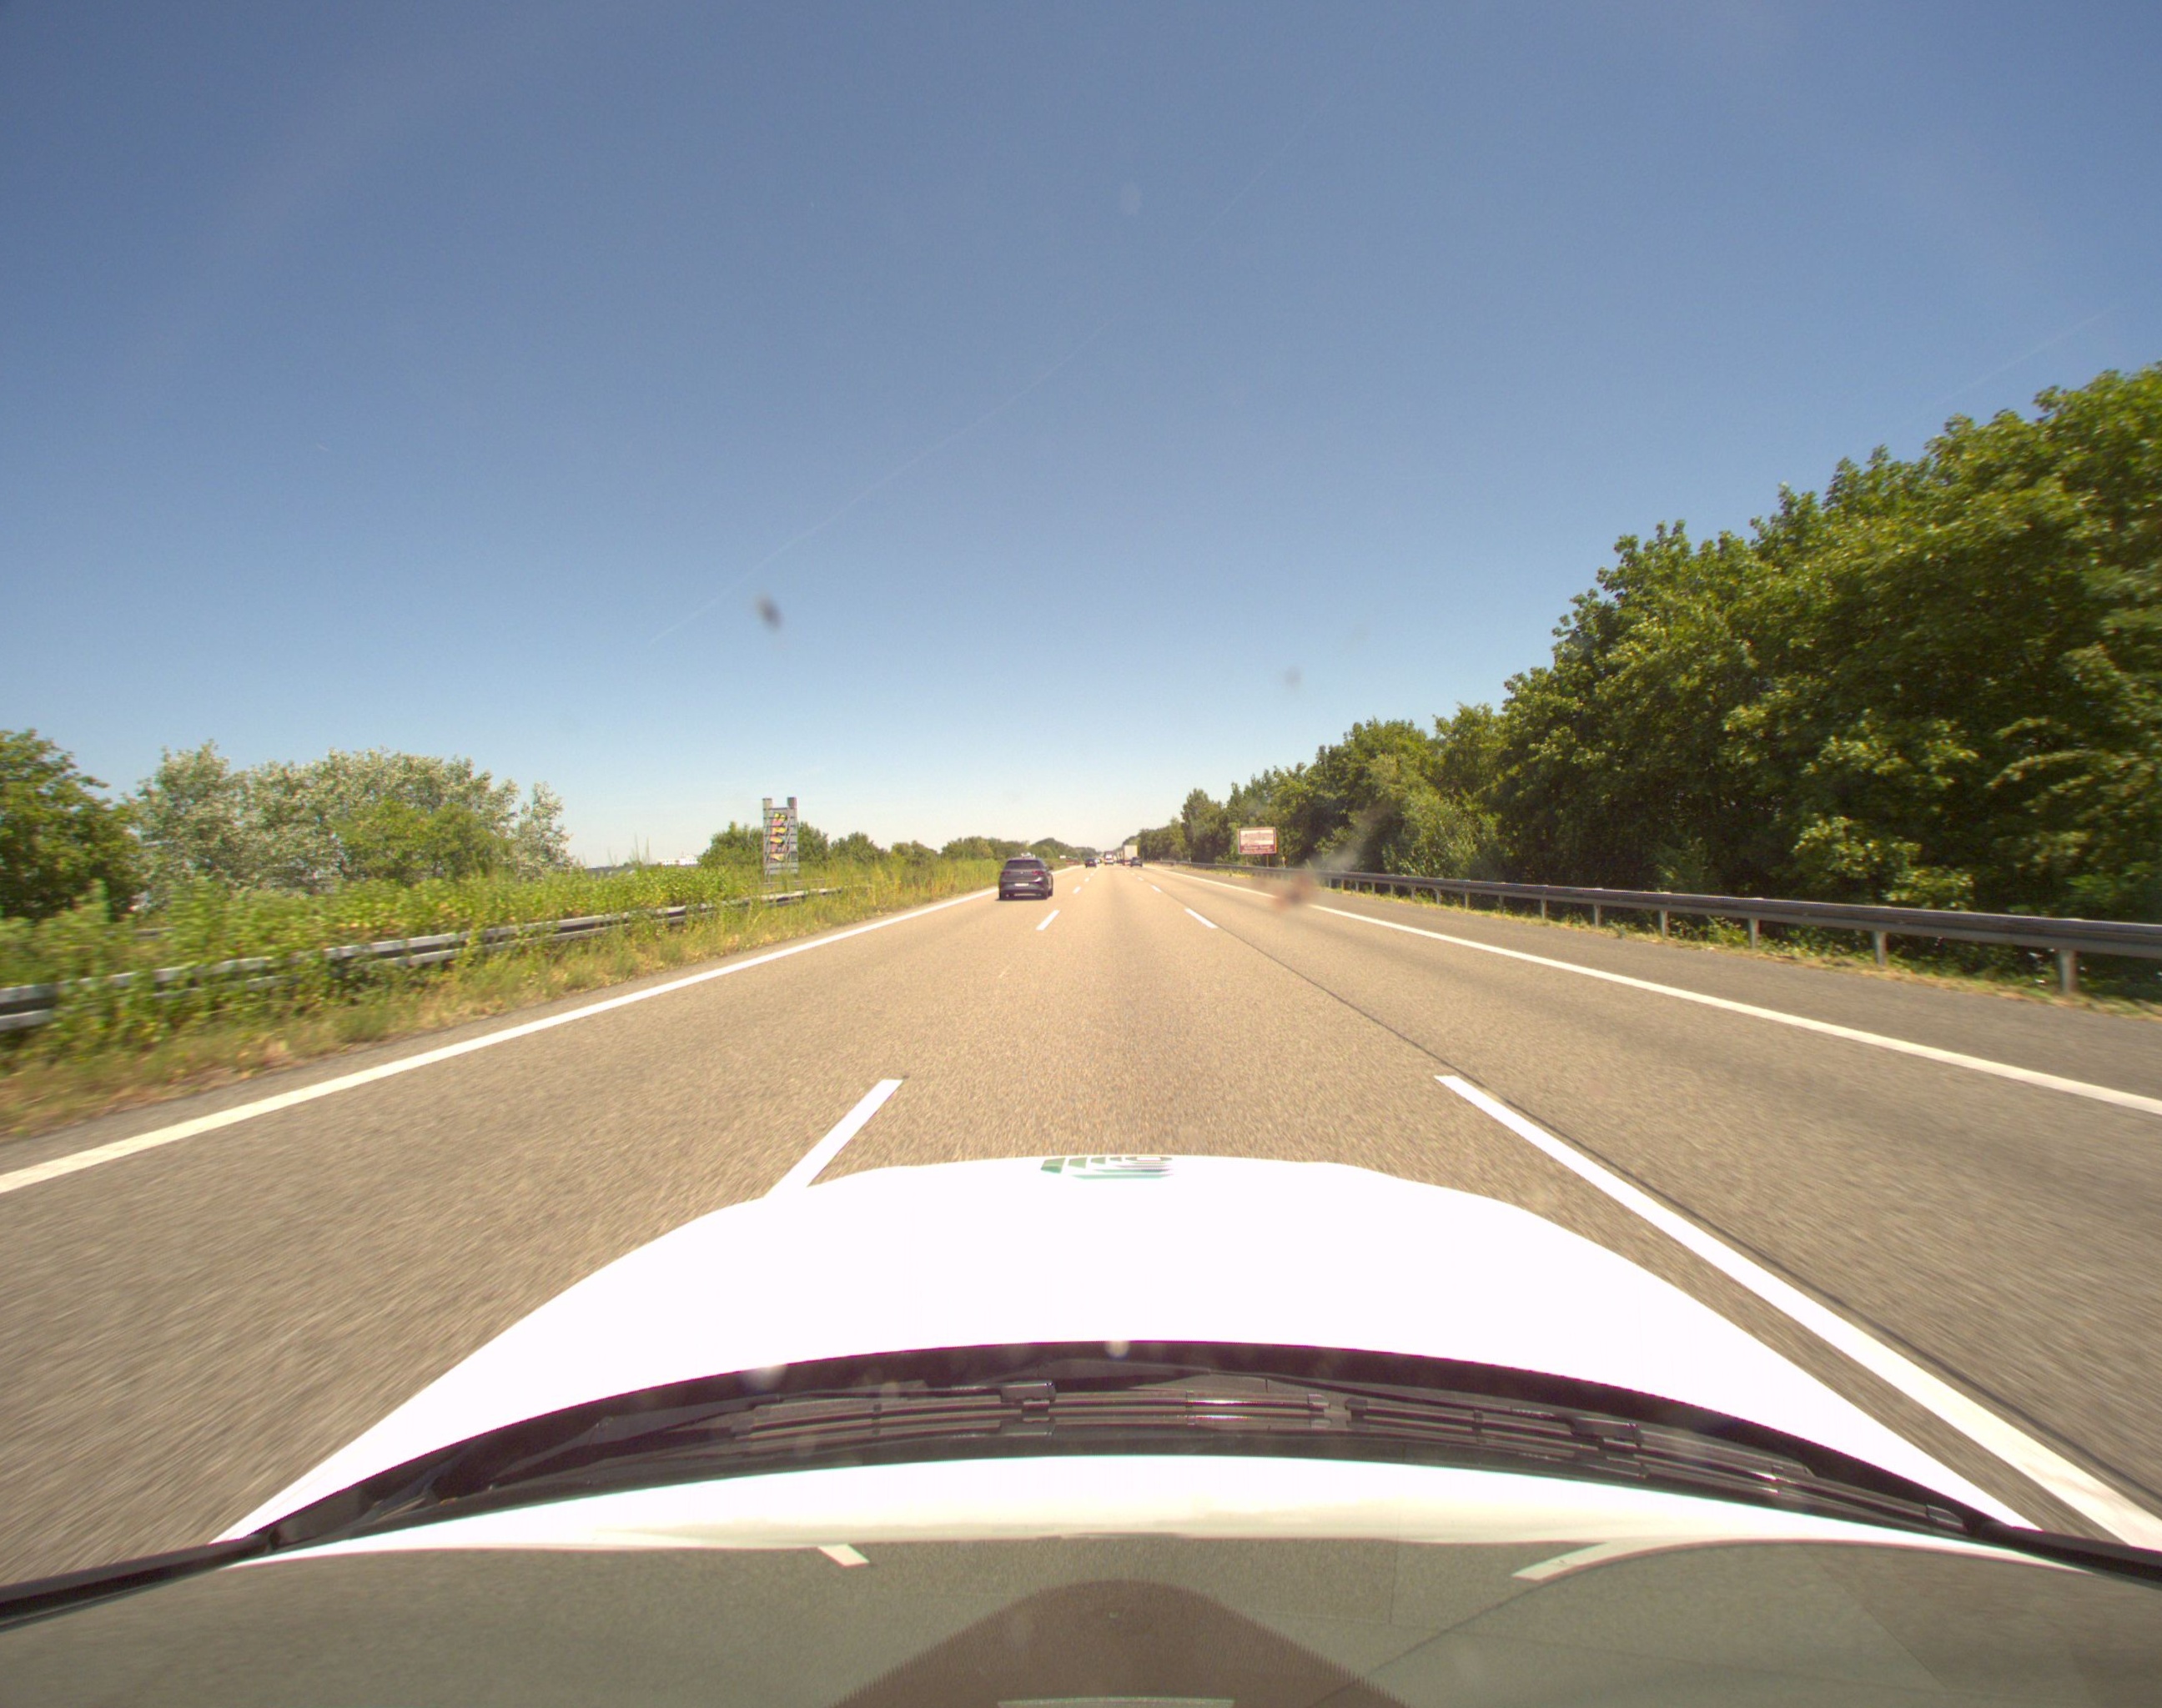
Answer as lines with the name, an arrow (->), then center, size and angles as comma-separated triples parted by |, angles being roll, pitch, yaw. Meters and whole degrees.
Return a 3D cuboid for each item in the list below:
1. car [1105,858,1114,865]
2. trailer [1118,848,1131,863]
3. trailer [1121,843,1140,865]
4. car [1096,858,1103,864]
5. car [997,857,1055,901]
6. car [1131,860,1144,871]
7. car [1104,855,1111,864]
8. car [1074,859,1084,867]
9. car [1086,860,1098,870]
car -> 5.973, 1.553, 170.267 | 1.893, 1.531, 4.086 | 0, 0, 2
trailer -> 11.784, 0.481, 223.030 | 3.111, 3.926, 9.937 | 0, 0, 1
trailer -> 9.625, 0.081, 160.691 | 3.421, 4.181, 13.638 | 0, -1, 2
car -> 5.157, 1.991, 232.042 | 1.900, 1.531, 4.287 | 0, 0, 2
car -> -2.003, 0.878, 30.957 | 1.752, 1.531, 4.287 | 0, 0, 2
car -> 8.807, 1.724, 127.793 | 1.838, 1.629, 4.137 | -2, -1, 2
car -> 7.852, 1.604, 240.874 | 1.900, 2.425, 4.287 | 0, 0, 2
car -> -0.359, 1.887, 167.908 | 1.900, 1.531, 4.287 | 0, 0, 2
car -> 1.741, 1.654, 126.673 | 1.893, 1.531, 4.086 | 0, 0, 2
